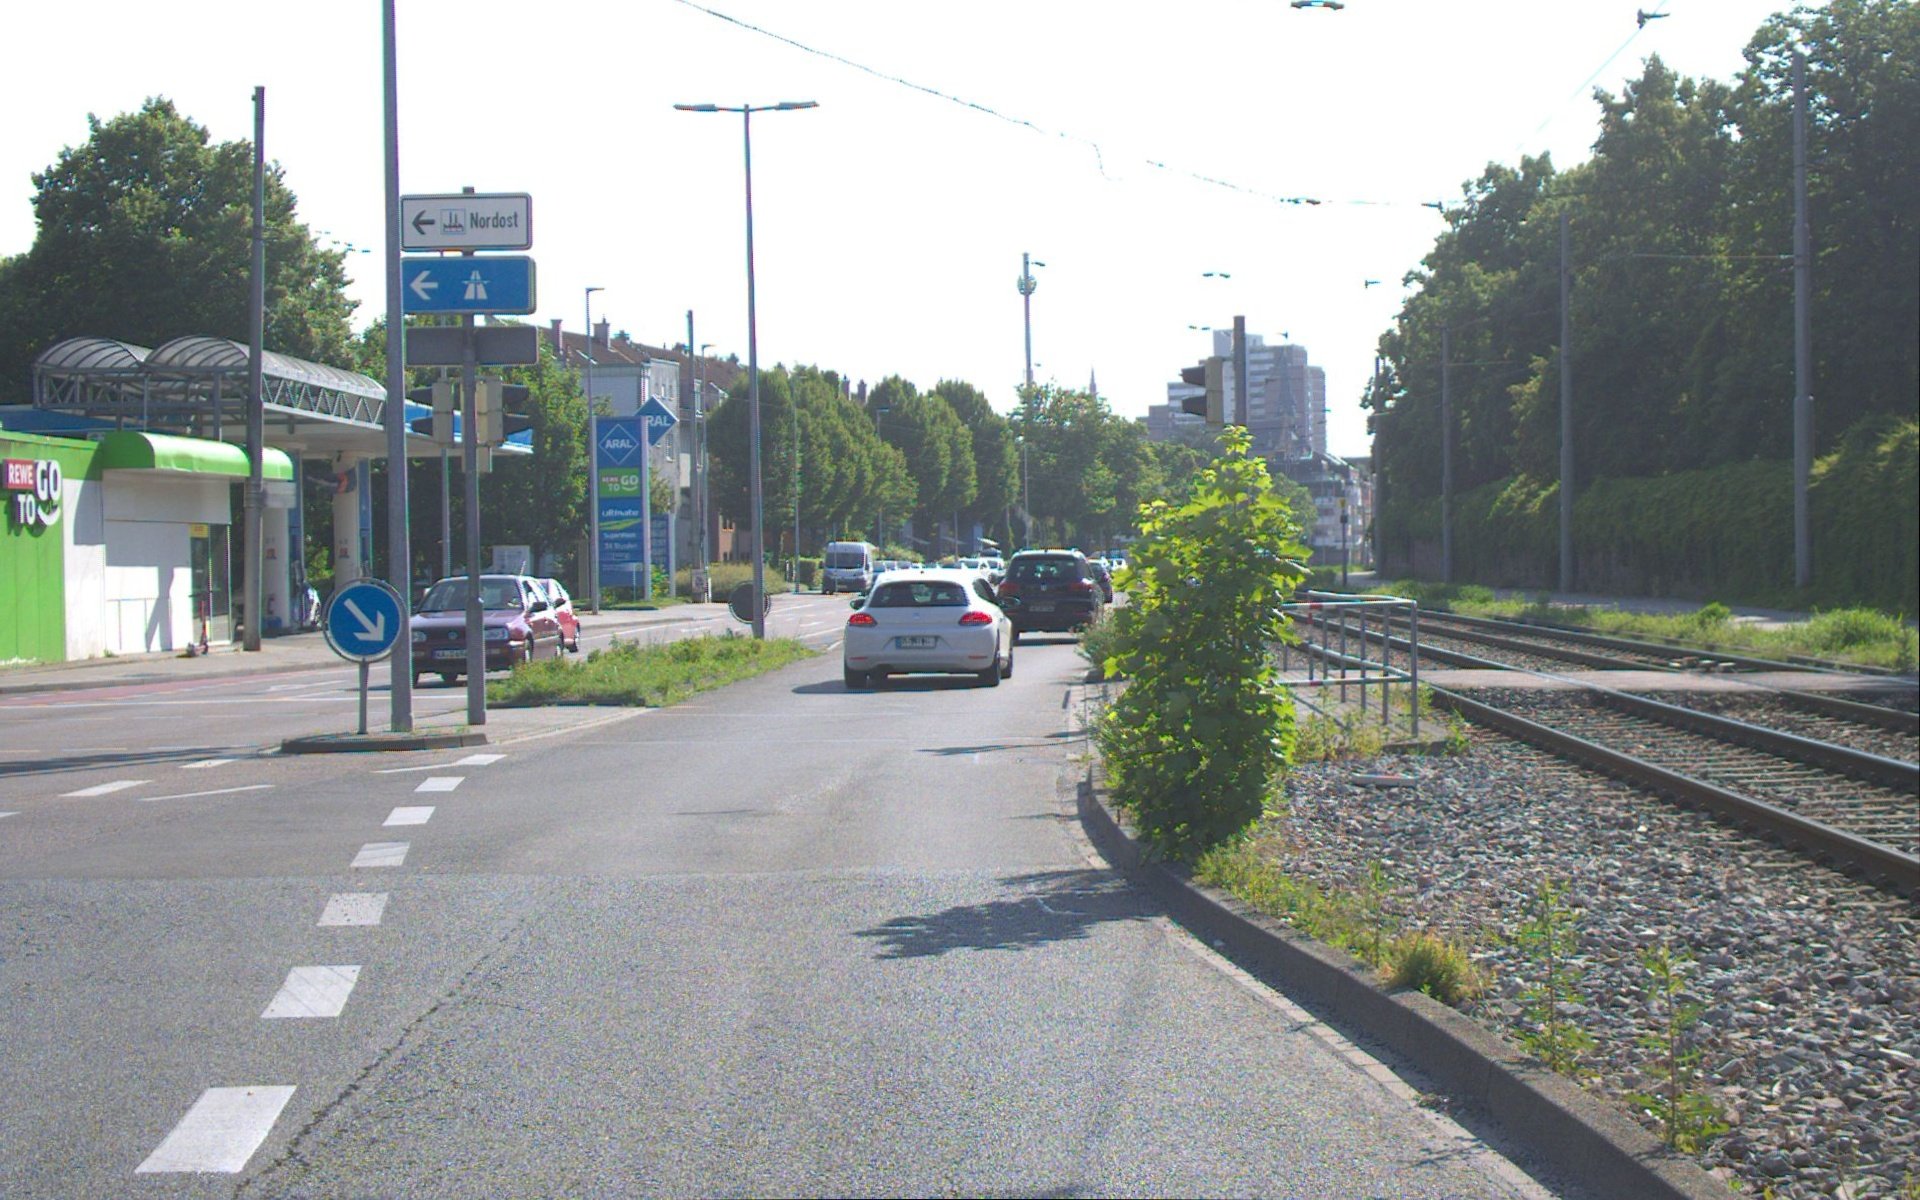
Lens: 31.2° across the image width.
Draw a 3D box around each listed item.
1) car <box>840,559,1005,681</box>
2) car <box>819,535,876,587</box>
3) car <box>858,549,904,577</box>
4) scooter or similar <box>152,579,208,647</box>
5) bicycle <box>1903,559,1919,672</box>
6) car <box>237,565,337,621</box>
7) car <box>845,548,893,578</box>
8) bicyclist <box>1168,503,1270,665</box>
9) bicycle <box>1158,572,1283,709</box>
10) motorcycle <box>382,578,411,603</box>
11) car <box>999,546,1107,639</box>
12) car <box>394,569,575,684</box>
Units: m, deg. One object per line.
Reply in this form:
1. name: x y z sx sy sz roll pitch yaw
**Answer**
1. car: -0.409 0.207 41.082 1.781 1.351 3.601 0 1 2
2. car: -5.235 -1.837 160.637 1.994 2.368 4.537 -2 1 6
3. car: -4.176 -1.948 181.667 1.994 1.411 3.843 -2 1 5
4. scooter or similar: -14.061 0.228 61.966 0.532 1.170 1.309 4 1 5
5. bicycle: 10.417 0.136 34.028 1.923 1.111 0.946 -1 1 27
6. car: -17.983 -0.196 91.989 1.744 1.388 4.121 -2 1 1
7. car: -4.642 -1.895 175.796 1.994 1.411 3.843 -2 1 5
8. bicyclist: 2.305 -0.146 30.538 0.644 1.411 1.012 -1 1 18
9. bicycle: 2.334 0.343 30.594 0.644 1.150 1.935 -1 1 18
10. motorcycle: -20.602 -0.351 125.703 0.671 0.898 1.671 -2 1 3
11. car: 1.637 -0.164 61.459 1.724 1.587 3.601 0 1 -2
12. car: -6.223 0.316 45.357 1.653 1.390 4.134 -1 1 2
